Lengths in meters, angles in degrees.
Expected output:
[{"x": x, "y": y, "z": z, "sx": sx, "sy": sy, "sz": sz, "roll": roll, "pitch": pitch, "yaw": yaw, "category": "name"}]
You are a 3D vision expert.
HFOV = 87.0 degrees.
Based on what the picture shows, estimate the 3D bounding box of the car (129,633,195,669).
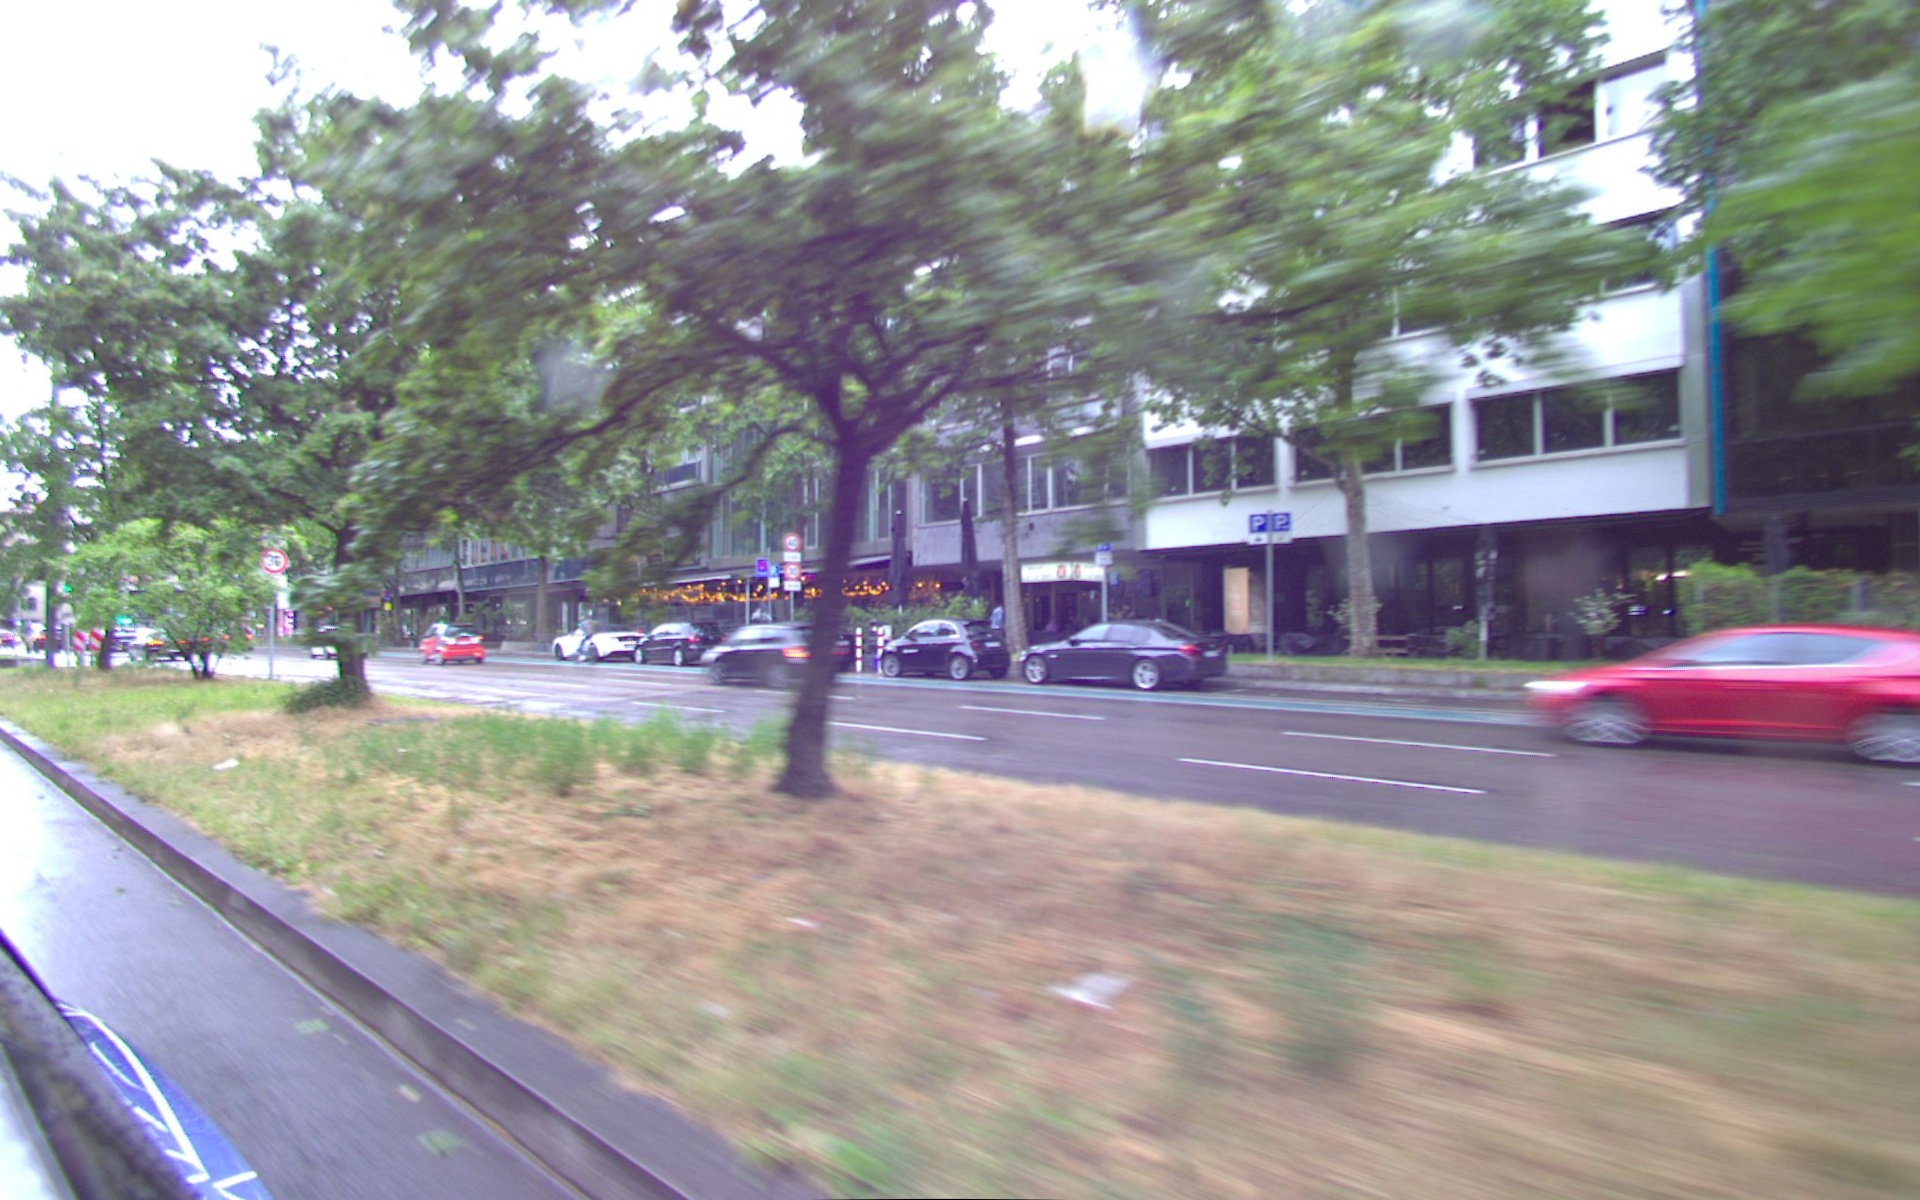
[{"x": -36.498, "y": 2.283, "z": 46.254, "sx": 4.095, "sy": 1.487, "sz": 1.730, "roll": -1, "pitch": 0, "yaw": 42, "category": "car"}]

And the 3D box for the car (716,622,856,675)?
[{"x": -5.192, "y": 1.414, "z": 29.786, "sx": 4.454, "sy": 1.420, "sz": 1.675, "roll": -3, "pitch": -2, "yaw": 42, "category": "car"}]

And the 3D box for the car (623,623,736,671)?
[{"x": -9.456, "y": 1.563, "z": 33.985, "sx": 3.999, "sy": 1.519, "sz": 1.817, "roll": -3, "pitch": -2, "yaw": 42, "category": "car"}]

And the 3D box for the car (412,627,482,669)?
[{"x": -18.894, "y": 1.760, "z": 37.239, "sx": 2.732, "sy": 1.474, "sz": 1.477, "roll": -2, "pitch": -2, "yaw": 43, "category": "car"}]

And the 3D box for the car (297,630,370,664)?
[{"x": -27.833, "y": 2.086, "z": 44.937, "sx": 3.641, "sy": 1.440, "sz": 1.824, "roll": -3, "pitch": -2, "yaw": 42, "category": "car"}]

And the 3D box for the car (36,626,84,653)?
[{"x": -54.608, "y": 2.411, "z": 61.381, "sx": 4.831, "sy": 1.585, "sz": 1.716, "roll": -3, "pitch": -2, "yaw": 42, "category": "car"}]

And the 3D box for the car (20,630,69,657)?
[{"x": -63.104, "y": 2.970, "z": 69.741, "sx": 5.105, "sy": 1.780, "sz": 1.817, "roll": -3, "pitch": -2, "yaw": 40, "category": "car"}]

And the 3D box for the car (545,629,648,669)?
[{"x": -13.526, "y": 1.816, "z": 37.529, "sx": 4.681, "sy": 1.364, "sz": 1.543, "roll": -3, "pitch": -2, "yaw": 42, "category": "car"}]

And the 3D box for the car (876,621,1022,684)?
[{"x": -0.326, "y": 1.308, "z": 25.509, "sx": 3.458, "sy": 1.480, "sz": 1.675, "roll": -3, "pitch": -2, "yaw": 42, "category": "car"}]

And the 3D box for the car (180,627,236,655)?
[{"x": -41.789, "y": 2.232, "z": 56.195, "sx": 4.095, "sy": 1.487, "sz": 1.730, "roll": -2, "pitch": -2, "yaw": 42, "category": "car"}]

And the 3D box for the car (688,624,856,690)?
[{"x": -4.478, "y": 1.314, "z": 23.749, "sx": 3.999, "sy": 1.400, "sz": 1.824, "roll": -3, "pitch": -2, "yaw": 42, "category": "car"}]

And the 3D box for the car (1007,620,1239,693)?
[{"x": 3.433, "y": 1.206, "z": 22.072, "sx": 4.905, "sy": 1.420, "sz": 1.674, "roll": -3, "pitch": -3, "yaw": 44, "category": "car"}]

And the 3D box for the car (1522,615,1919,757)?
[{"x": 8.935, "y": 0.903, "z": 11.504, "sx": 4.183, "sy": 1.404, "sz": 1.597, "roll": -3, "pitch": -2, "yaw": 42, "category": "car"}]

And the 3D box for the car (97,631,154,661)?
[{"x": -43.863, "y": 2.387, "z": 53.179, "sx": 4.095, "sy": 1.487, "sz": 1.731, "roll": -2, "pitch": -2, "yaw": 42, "category": "car"}]
